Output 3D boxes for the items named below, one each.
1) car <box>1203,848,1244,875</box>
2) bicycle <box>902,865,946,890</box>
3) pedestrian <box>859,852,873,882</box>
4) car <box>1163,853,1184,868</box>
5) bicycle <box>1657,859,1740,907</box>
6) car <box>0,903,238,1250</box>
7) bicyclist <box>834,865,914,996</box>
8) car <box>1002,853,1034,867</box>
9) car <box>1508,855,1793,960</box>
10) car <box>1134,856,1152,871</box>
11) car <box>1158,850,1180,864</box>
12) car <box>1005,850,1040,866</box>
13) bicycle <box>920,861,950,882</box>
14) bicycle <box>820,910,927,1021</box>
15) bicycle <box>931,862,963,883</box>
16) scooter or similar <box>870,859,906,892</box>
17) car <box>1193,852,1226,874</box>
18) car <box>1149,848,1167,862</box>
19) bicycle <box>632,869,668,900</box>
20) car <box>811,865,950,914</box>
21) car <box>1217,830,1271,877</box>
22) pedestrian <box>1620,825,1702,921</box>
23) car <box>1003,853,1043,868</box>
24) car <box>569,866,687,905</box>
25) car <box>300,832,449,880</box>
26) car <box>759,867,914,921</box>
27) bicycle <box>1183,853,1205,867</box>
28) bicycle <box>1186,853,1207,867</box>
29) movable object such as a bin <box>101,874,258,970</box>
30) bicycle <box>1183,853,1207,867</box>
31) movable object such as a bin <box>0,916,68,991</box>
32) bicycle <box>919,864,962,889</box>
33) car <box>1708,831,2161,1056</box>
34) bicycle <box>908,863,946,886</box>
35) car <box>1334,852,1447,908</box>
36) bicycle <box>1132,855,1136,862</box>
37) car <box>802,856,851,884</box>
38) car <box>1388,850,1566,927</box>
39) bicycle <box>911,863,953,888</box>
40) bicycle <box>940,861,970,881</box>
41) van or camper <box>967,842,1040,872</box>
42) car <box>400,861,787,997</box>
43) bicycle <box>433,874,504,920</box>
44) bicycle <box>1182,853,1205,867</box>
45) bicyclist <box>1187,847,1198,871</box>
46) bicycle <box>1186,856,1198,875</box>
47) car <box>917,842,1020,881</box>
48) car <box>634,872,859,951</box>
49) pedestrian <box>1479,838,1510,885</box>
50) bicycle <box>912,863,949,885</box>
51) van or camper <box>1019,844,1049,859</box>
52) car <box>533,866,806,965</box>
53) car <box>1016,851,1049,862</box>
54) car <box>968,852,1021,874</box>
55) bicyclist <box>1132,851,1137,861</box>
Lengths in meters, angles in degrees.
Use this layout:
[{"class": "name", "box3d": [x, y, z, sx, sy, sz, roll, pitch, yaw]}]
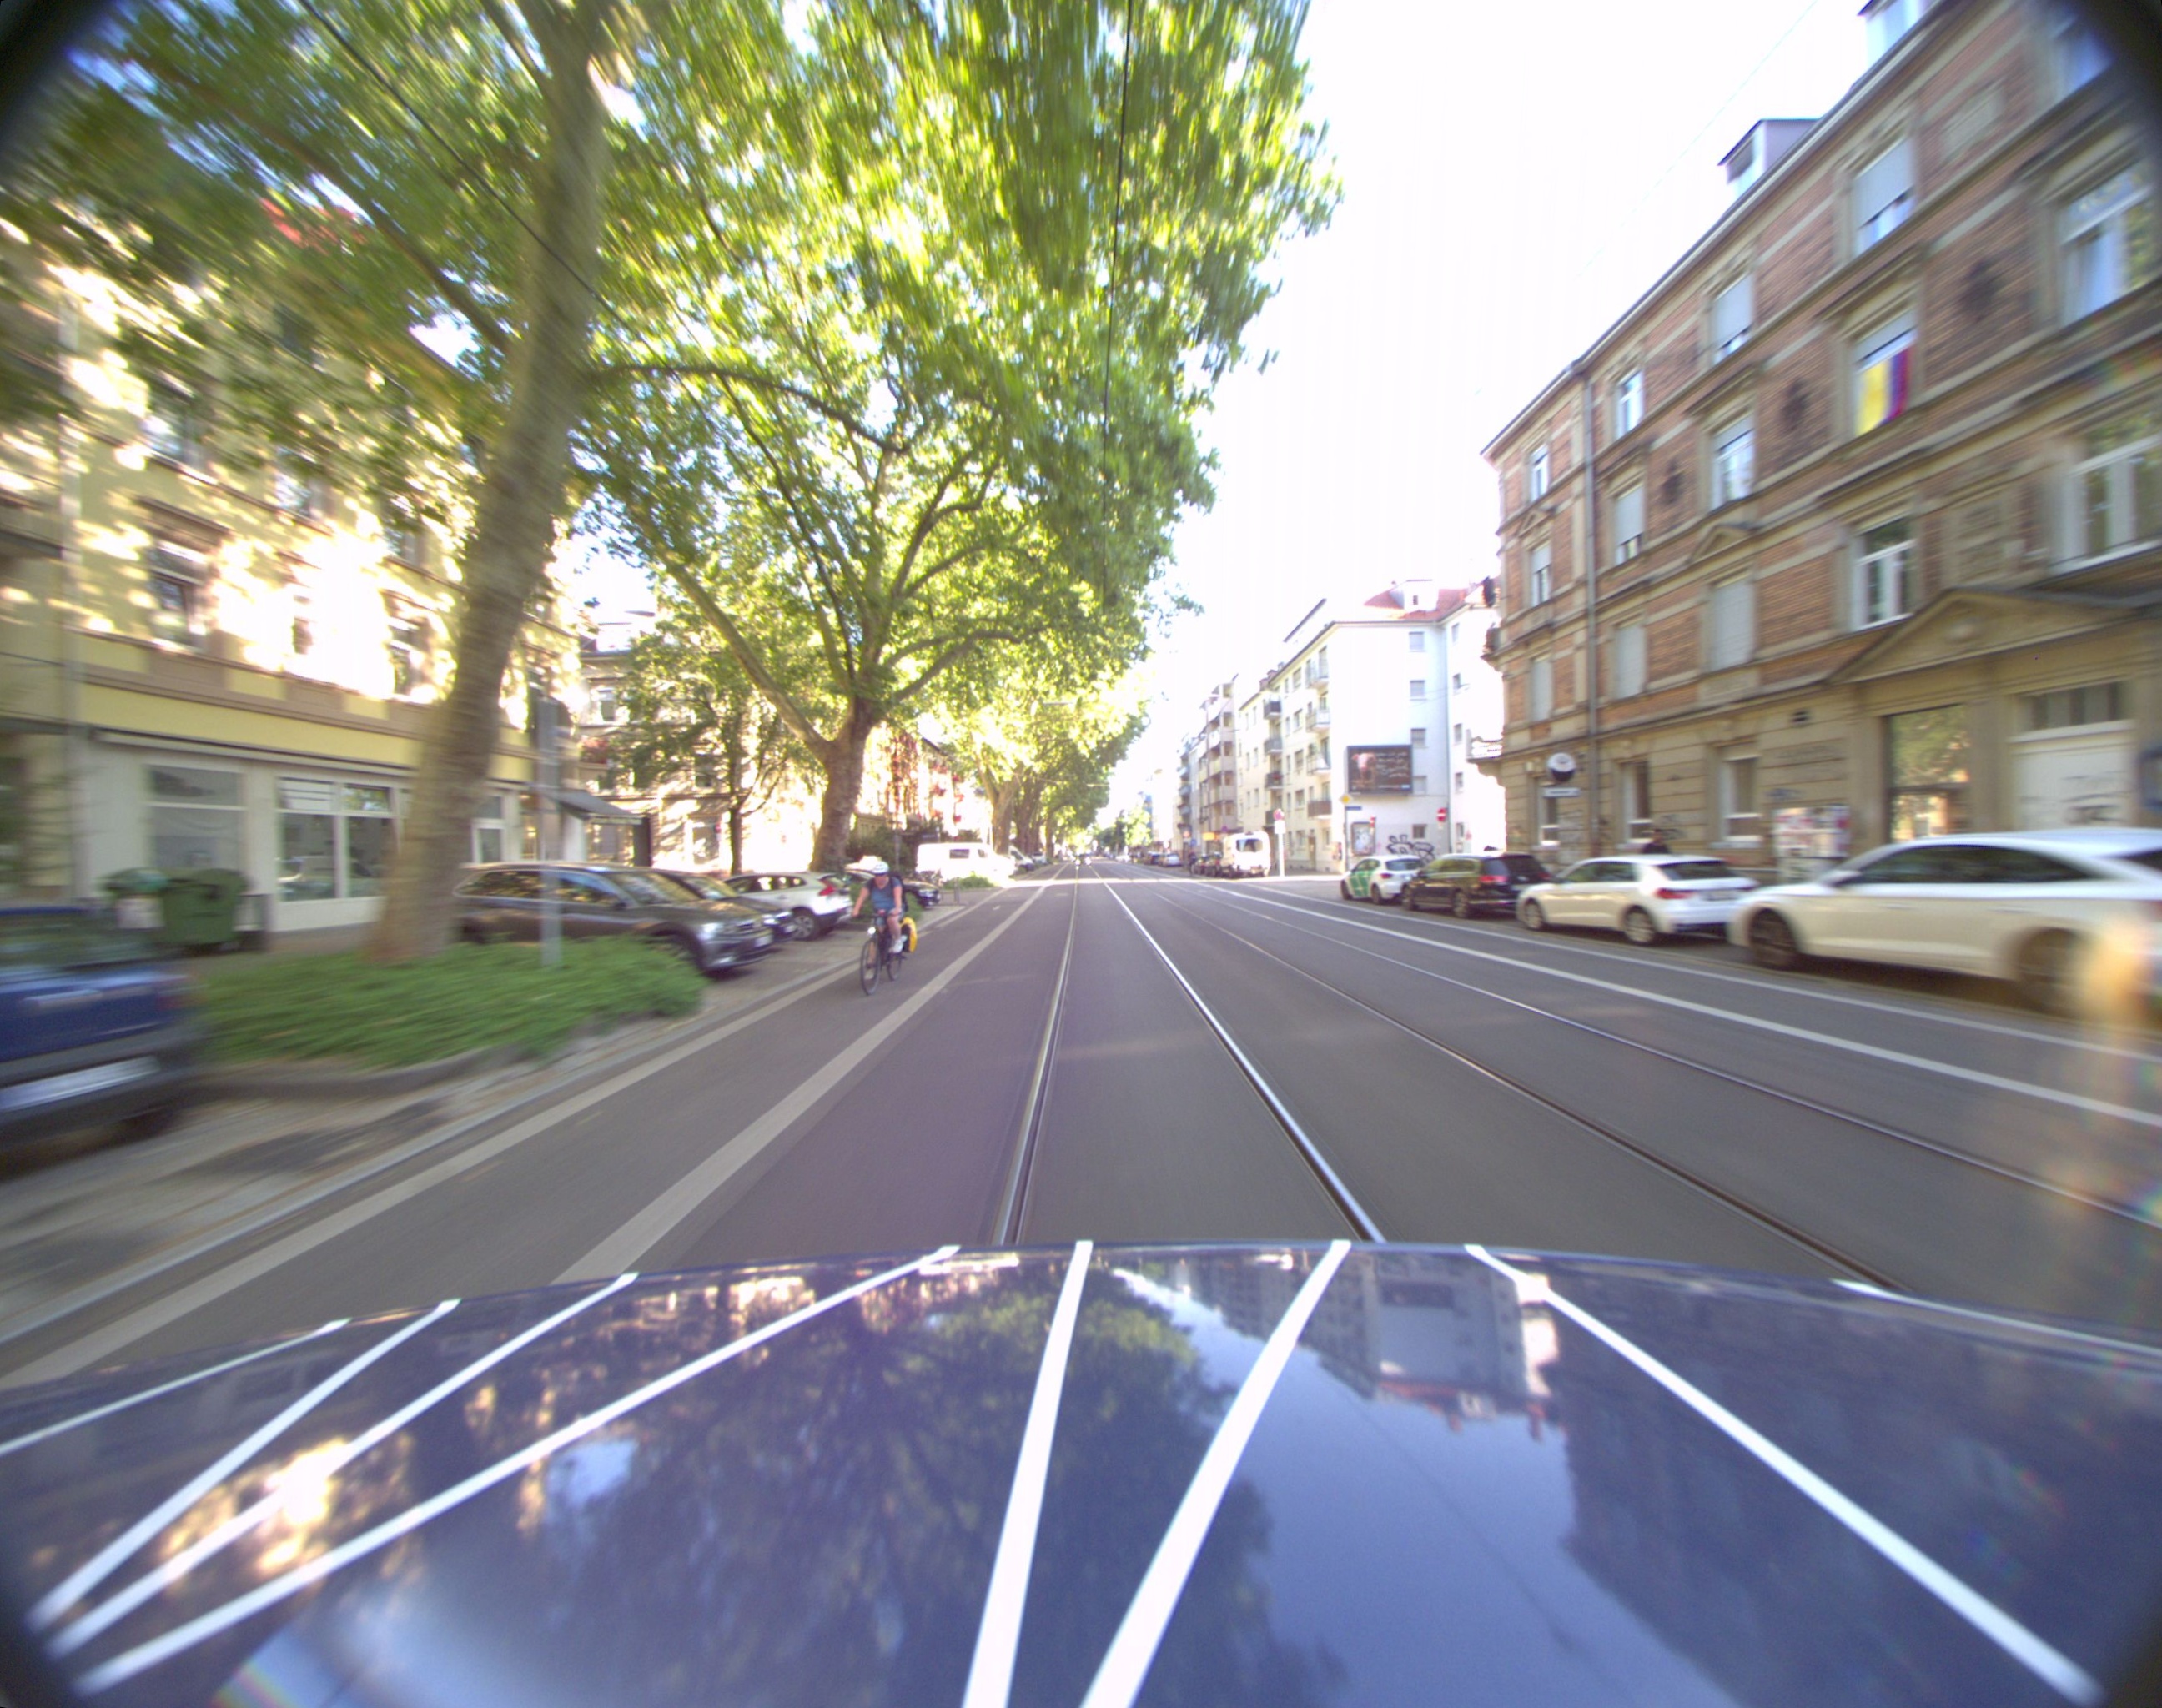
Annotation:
[{"class": "car", "box3d": [9.229, 0.456, 49.596, 1.723, 1.622, 4.346, -1, 0, -1]}, {"class": "bicycle", "box3d": [-7.723, 1.144, 37.287, 2.046, 1.172, 0.413, -2, 2, 9]}, {"class": "pedestrian", "box3d": [-12.062, 0.739, 42.629, 0.594, 1.642, 0.707, -2, 2, -25]}, {"class": "car", "box3d": [9.655, 0.642, 79.662, 1.694, 1.482, 4.728, -1, 0, 1]}, {"class": "bicycle", "box3d": [14.501, 0.652, 17.899, 0.373, 1.028, 1.848, -1, 0, -3]}, {"class": "car", "box3d": [-7.018, 1.147, 3.900, 3.604, 1.590, 1.540, -1, 1, 1]}, {"class": "bicyclist", "box3d": [-2.654, 0.947, 9.839, 0.615, 1.543, 0.935, -6, 1, 0]}, {"class": "car", "box3d": [-7.294, 0.685, 88.264, 3.618, 1.486, 1.660, -1, 1, -2]}, {"class": "car", "box3d": [9.438, 0.781, 13.076, 1.704, 1.412, 3.998, -3, 1, -4]}, {"class": "car", "box3d": [8.029, 1.252, 98.701, 1.784, 1.728, 4.488, -3, 0, -2]}, {"class": "car", "box3d": [9.739, 0.344, 84.484, 1.798, 1.482, 4.240, -1, 0, -1]}, {"class": "car", "box3d": [-6.975, 0.496, 90.379, 4.004, 1.734, 1.805, -1, 0, 0]}, {"class": "bicycle", "box3d": [-8.462, 1.019, 44.032, 2.043, 1.172, 0.414, -1, 2, 37]}, {"class": "bicycle", "box3d": [-2.585, 1.345, 9.772, 0.596, 0.998, 2.511, -4, 0, 0]}, {"class": "bicycle", "box3d": [-7.491, 1.032, 42.390, 2.043, 1.172, 0.414, -1, 2, 37]}, {"class": "scooter or similar", "box3d": [-7.415, 0.814, 29.166, 1.309, 1.248, 0.341, -1, 1, 14]}, {"class": "car", "box3d": [9.286, 0.618, 55.104, 1.722, 1.448, 4.572, -1, 0, 2]}, {"class": "car", "box3d": [9.669, 0.087, 95.420, 1.660, 1.591, 4.201, -3, 0, -1]}, {"class": "bicycle", "box3d": [-20.943, 1.453, 36.969, 0.523, 1.310, 2.006, -3, 3, 0]}, {"class": "car", "box3d": [-6.742, 1.182, 25.714, 4.103, 1.483, 1.832, -1, 1, 9]}, {"class": "car", "box3d": [9.391, -0.027, 44.248, 2.070, 2.521, 5.667, -1, 1, 2]}, {"class": "pedestrian", "box3d": [11.393, 0.357, 14.948, 0.686, 1.790, 1.056, -3, 1, -9]}, {"class": "car", "box3d": [-5.877, 0.700, 77.698, 3.964, 1.471, 1.688, -1, 1, -1]}, {"class": "car", "box3d": [-18.049, 1.238, 30.401, 3.687, 1.403, 1.691, -1, -1, -3]}, {"class": "car", "box3d": [-26.723, 0.102, 28.824, 4.141, 1.648, 1.655, -2, -1, 1]}, {"class": "car", "box3d": [-7.379, 1.187, 23.100, 4.104, 1.483, 1.682, -1, 1, 6]}, {"class": "bicycle", "box3d": [9.970, 0.521, 67.119, 1.935, 1.112, 0.440, -3, 1, 7]}, {"class": "bicycle", "box3d": [9.860, 0.545, 64.907, 1.792, 1.112, 0.425, -3, 1, 7]}, {"class": "movable object such as a bin", "box3d": [-14.346, 1.058, 12.141, 1.170, 1.429, 1.117, 0, 1, 0]}, {"class": "bicycle", "box3d": [9.913, 0.533, 66.094, 1.972, 1.112, 0.425, -3, 1, 7]}, {"class": "movable object such as a bin", "box3d": [-14.193, 1.311, 10.126, 0.749, 0.938, 0.465, 0, 1, 0]}, {"class": "bicycle", "box3d": [-7.109, 1.126, 38.405, 2.046, 1.172, 0.413, -2, 2, 9]}, {"class": "car", "box3d": [9.404, 0.676, 7.932, 1.791, 1.713, 4.718, -3, 1, 0]}, {"class": "bicycle", "box3d": [-8.094, 1.074, 39.943, 2.044, 1.172, 0.414, -1, 2, 21]}, {"class": "car", "box3d": [9.440, 0.721, 23.550, 1.745, 1.483, 4.044, -3, 1, -1]}, {"class": "bicycle", "box3d": [7.437, 0.644, 105.892, 0.418, 1.012, 1.946, 0, 1, 0]}, {"class": "car", "box3d": [-14.228, 0.866, 42.628, 1.737, 1.447, 3.569, 0, 0, -3]}, {"class": "car", "box3d": [9.413, 0.723, 18.580, 1.745, 1.553, 4.785, -3, 1, -1]}, {"class": "bicycle", "box3d": [-7.634, 1.103, 38.967, 2.046, 1.172, 0.413, -2, 2, 9]}, {"class": "bicycle", "box3d": [-7.479, 1.007, 44.931, 2.043, 1.172, 0.414, -1, 2, 37]}, {"class": "van or camper", "box3d": [-6.693, 0.252, 65.974, 6.048, 2.476, 2.107, -1, 1, -1]}, {"class": "car", "box3d": [-6.702, 0.994, 10.838, 4.273, 1.709, 1.848, 1, 0, -2]}, {"class": "bicycle", "box3d": [-16.442, 1.133, 20.440, 0.471, 1.149, 1.746, 0, 0, 0]}, {"class": "bicycle", "box3d": [9.842, 0.532, 66.603, 1.965, 1.112, 0.440, -3, 1, 7]}, {"class": "bicyclist", "box3d": [7.145, 0.313, 48.764, 0.584, 1.473, 0.807, -1, 1, 0]}, {"class": "bicycle", "box3d": [7.100, 0.709, 48.654, 0.422, 1.144, 2.231, 0, 1, -1]}, {"class": "car", "box3d": [-6.959, 0.446, 47.428, 6.006, 2.269, 2.006, -1, 0, 2]}, {"class": "car", "box3d": [-6.972, 1.173, 16.205, 4.039, 1.471, 1.680, -1, 0, -5]}, {"class": "pedestrian", "box3d": [15.748, 0.305, 28.971, 0.658, 1.738, 0.894, -3, -1, 4]}, {"class": "bicycle", "box3d": [-8.172, 1.078, 41.315, 2.044, 1.172, 0.414, -1, 2, 21]}, {"class": "van or camper", "box3d": [-6.946, -0.429, 112.745, 4.389, 2.097, 1.837, -1, 1, -3]}, {"class": "car", "box3d": [-7.363, 1.067, 13.891, 4.038, 1.634, 1.681, -1, 1, -2]}, {"class": "car", "box3d": [-6.439, 0.322, 101.489, 4.206, 1.473, 1.911, -1, 1, 1]}, {"class": "car", "box3d": [-6.743, 0.696, 59.417, 3.965, 1.646, 1.795, -1, 1, -3]}, {"class": "bicyclist", "box3d": [7.443, 0.243, 105.651, 0.510, 1.386, 0.709, 0, 1, 0]}]
